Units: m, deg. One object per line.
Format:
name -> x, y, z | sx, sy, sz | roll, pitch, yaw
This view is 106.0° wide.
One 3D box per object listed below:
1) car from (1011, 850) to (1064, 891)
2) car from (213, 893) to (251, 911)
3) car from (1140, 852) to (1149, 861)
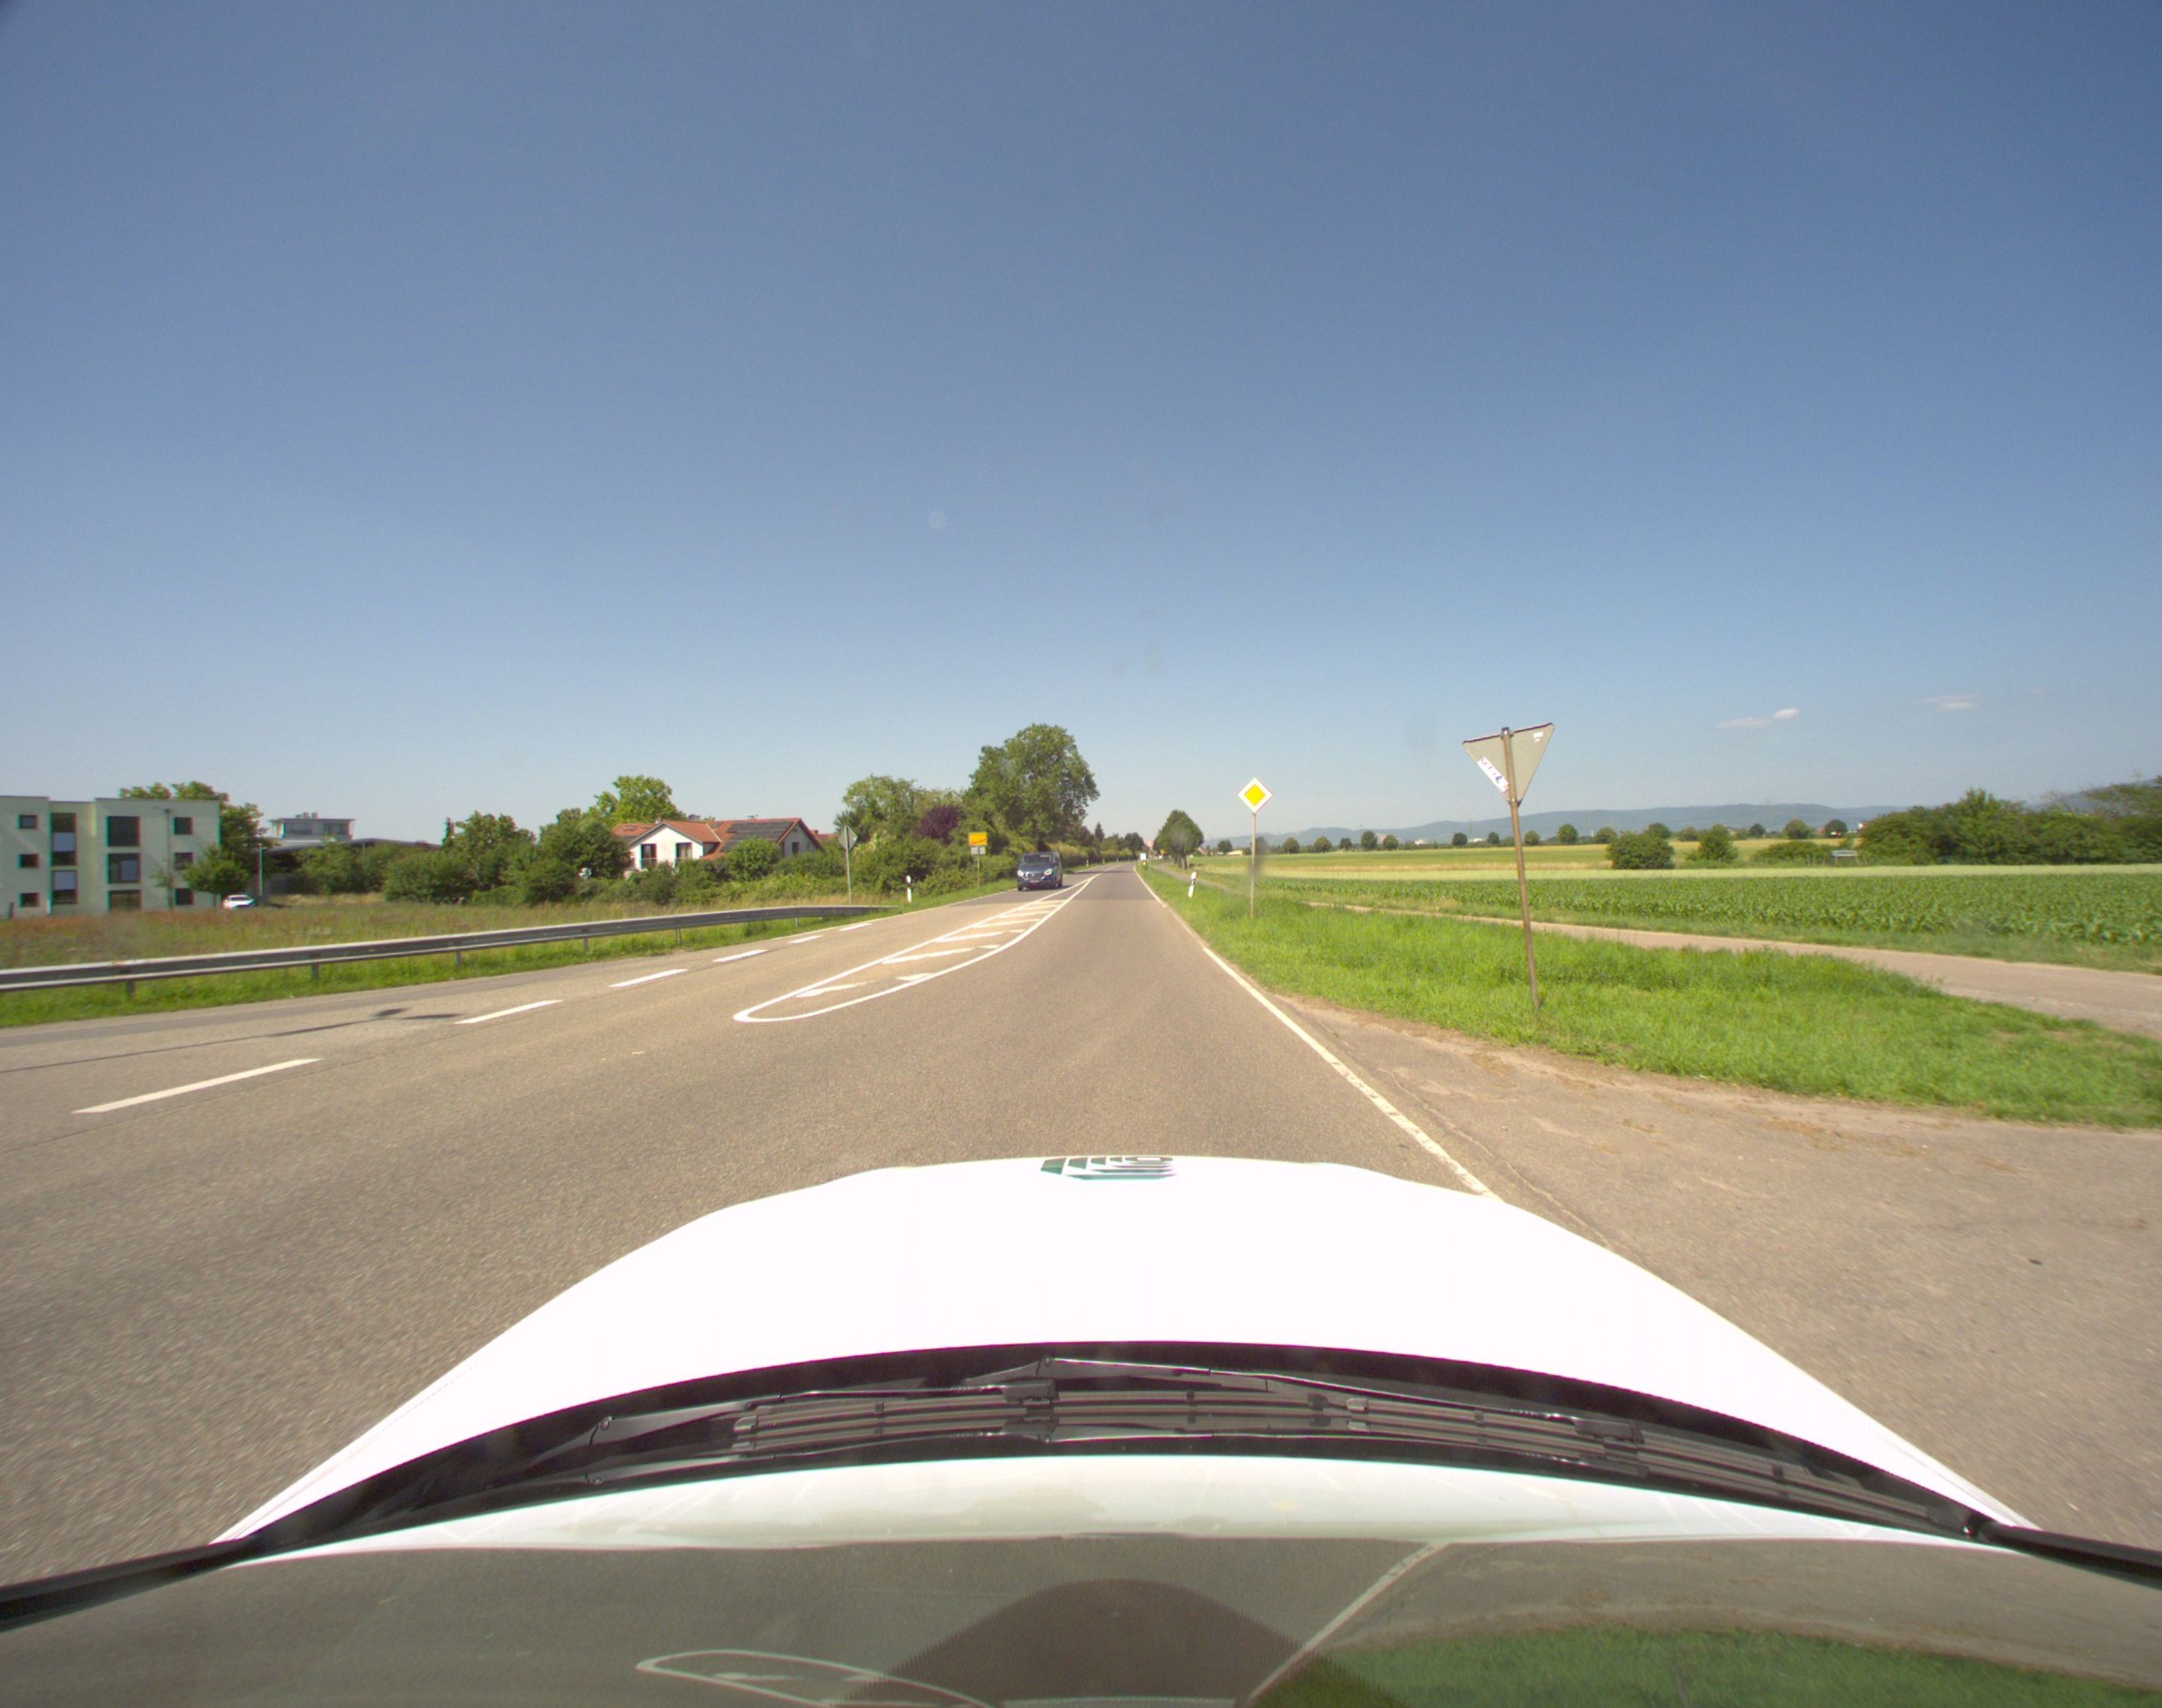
car -> -2.237, 0.825, 43.697 | 2.135, 1.951, 5.253 | -2, 0, 4
car -> -81.002, 4.584, 77.699 | 3.948, 1.618, 1.837 | -2, -1, 34
car -> 20.478, 0.693, 261.449 | 1.977, 2.651, 4.019 | -2, 0, 19
